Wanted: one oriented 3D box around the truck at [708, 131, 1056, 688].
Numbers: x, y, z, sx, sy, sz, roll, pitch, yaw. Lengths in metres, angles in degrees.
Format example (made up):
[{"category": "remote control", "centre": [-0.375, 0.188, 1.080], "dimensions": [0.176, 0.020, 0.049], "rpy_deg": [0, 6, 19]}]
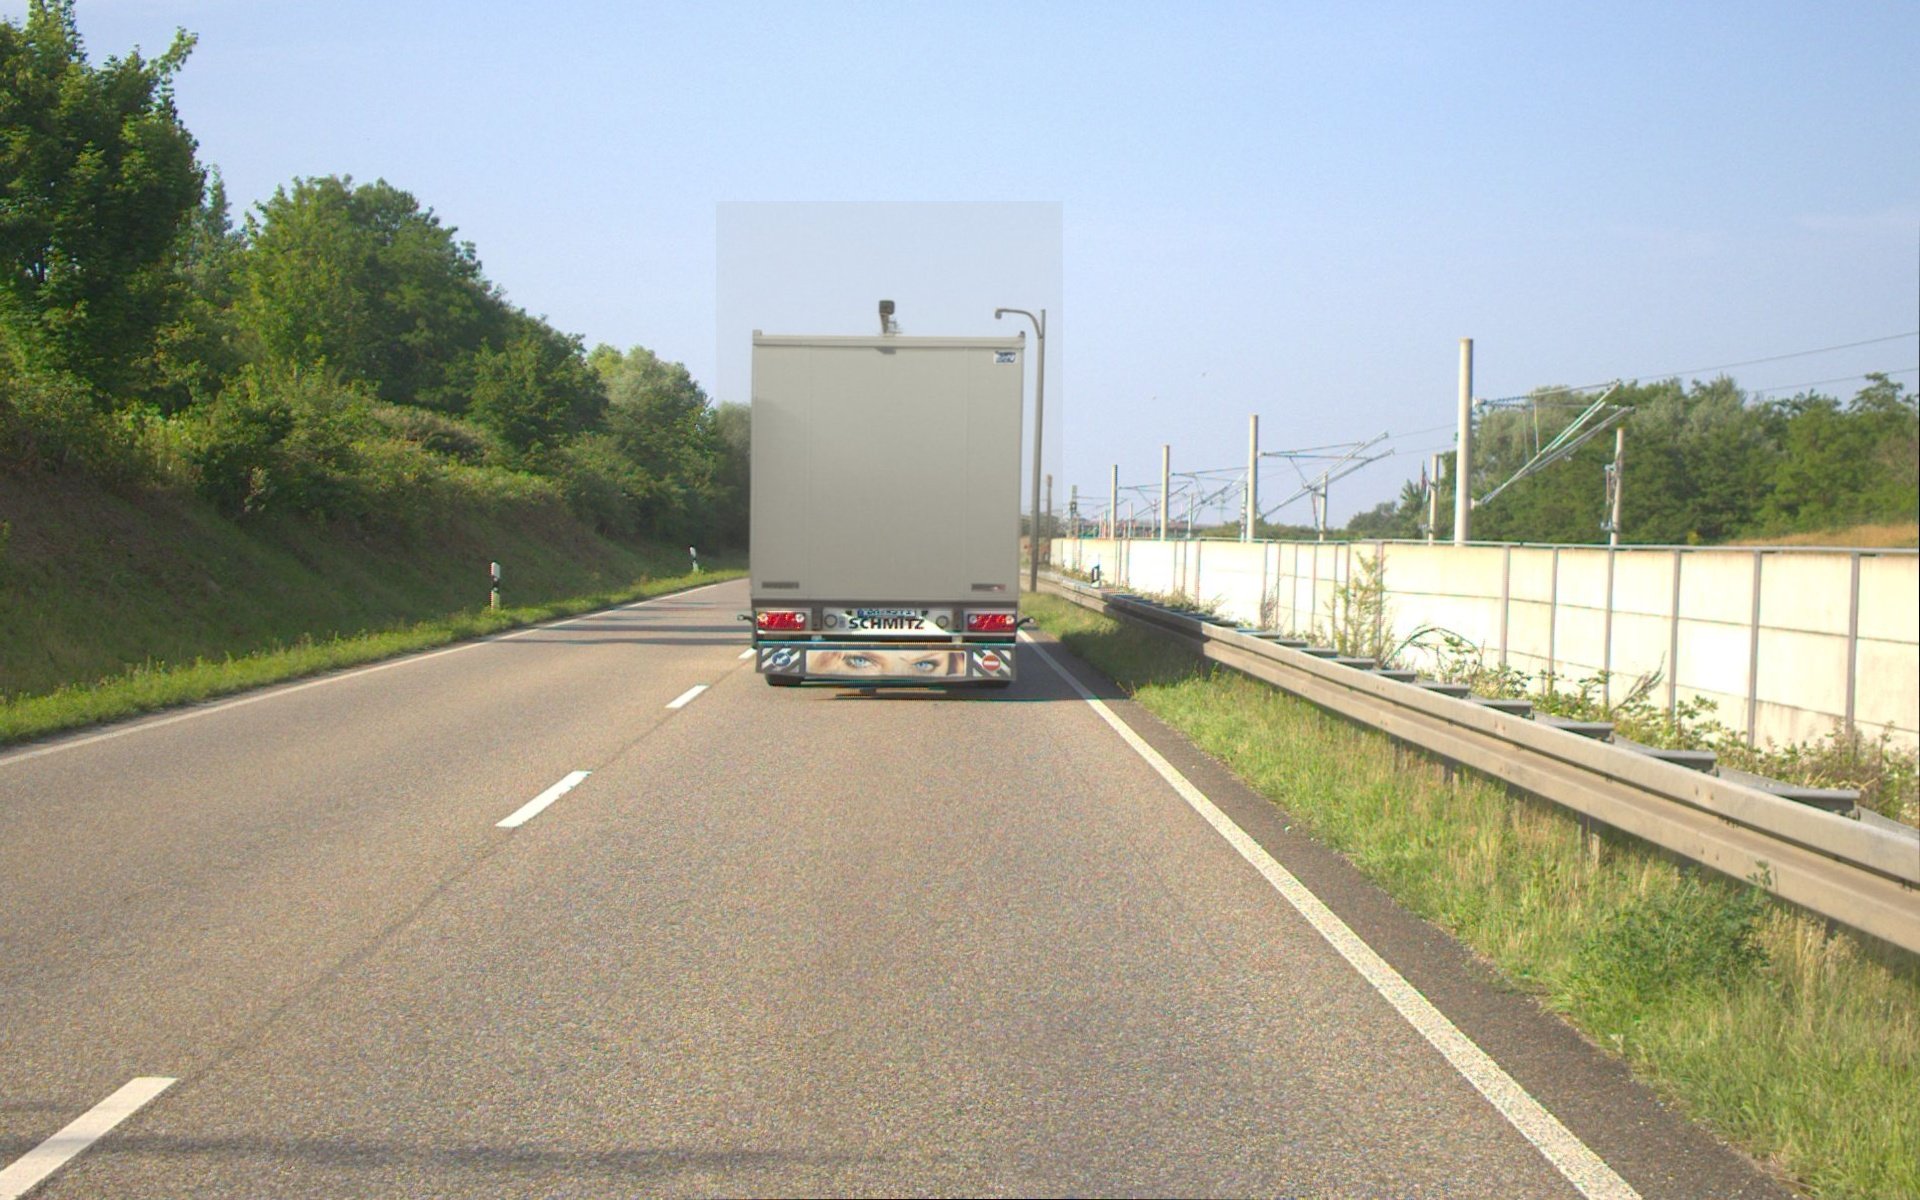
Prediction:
[{"category": "truck", "centre": [-0.871, -1.814, 36.432], "dimensions": [3.033, 4.903, 11.685], "rpy_deg": [1, 1, -2]}]
